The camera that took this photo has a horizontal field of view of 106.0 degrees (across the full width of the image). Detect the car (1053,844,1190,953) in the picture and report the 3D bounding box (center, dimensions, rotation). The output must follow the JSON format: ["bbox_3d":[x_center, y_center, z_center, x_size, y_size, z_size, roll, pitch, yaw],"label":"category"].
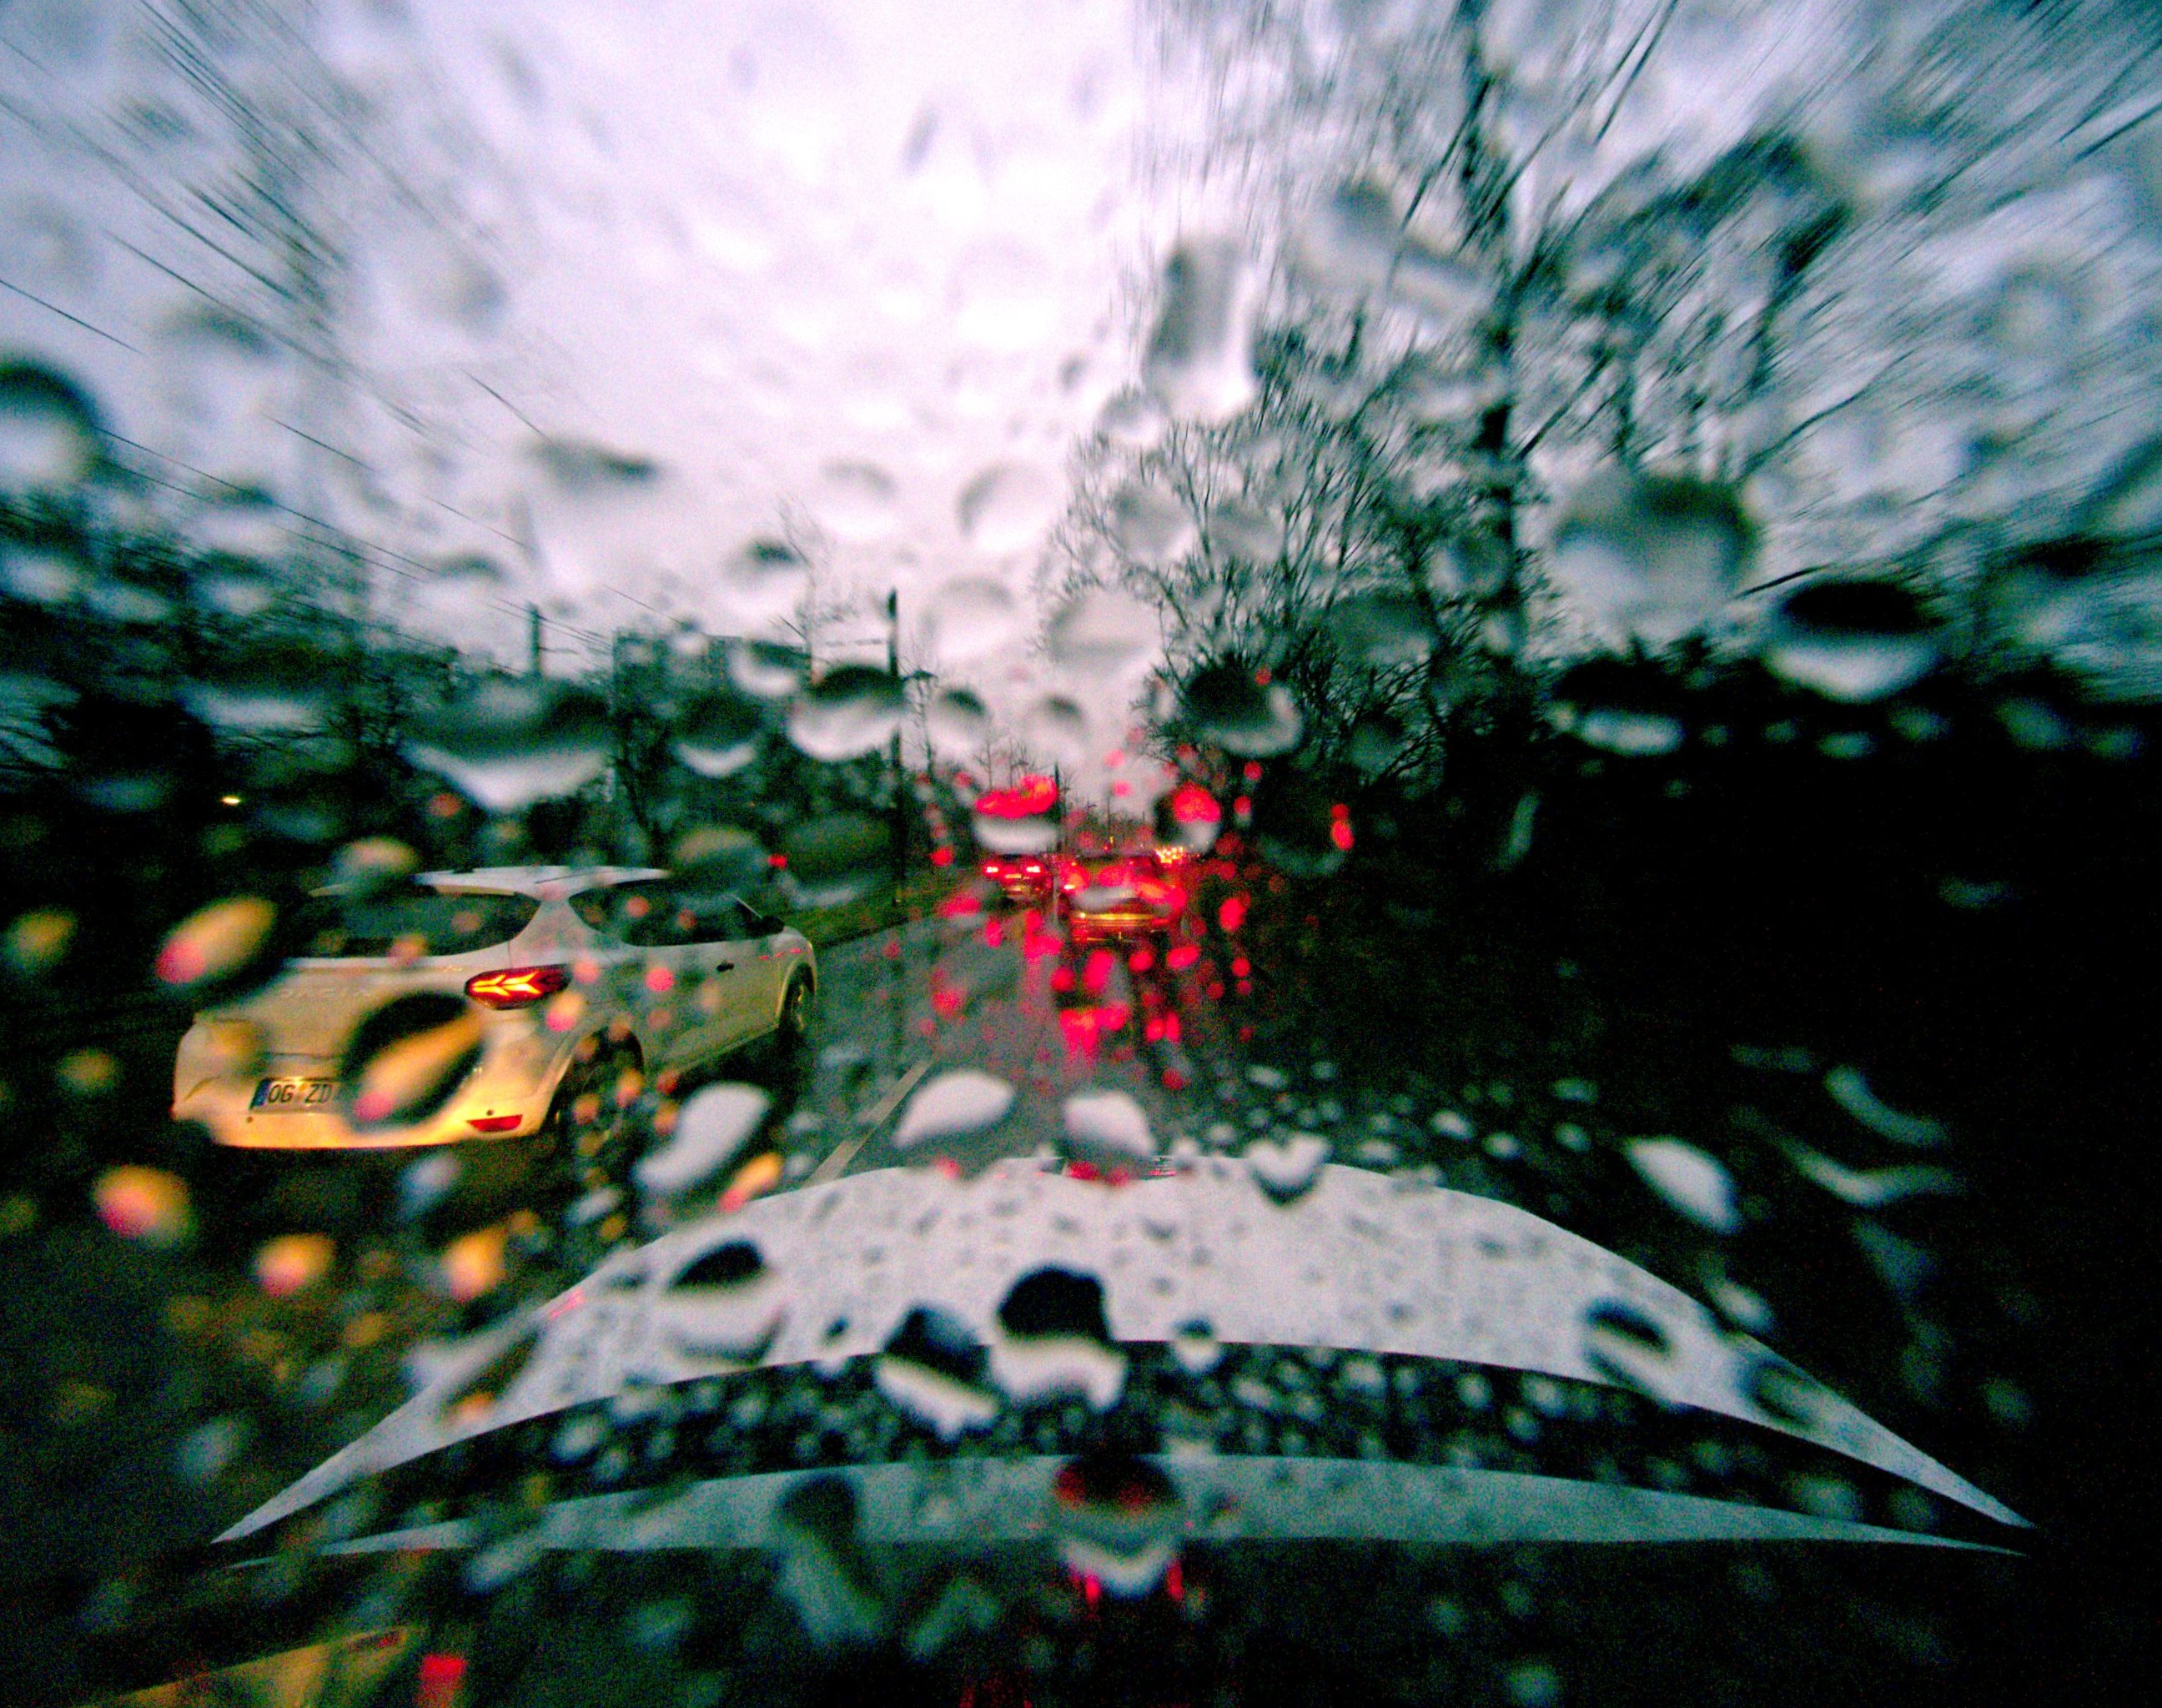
[{"bbox_3d":[0.596,0.636,14.013,1.992,1.584,3.999,-1,0,0],"label":"car"}]

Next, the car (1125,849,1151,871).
[{"bbox_3d":[4.276,0.424,60.971,1.699,1.558,4.004,-1,0,7],"label":"car"}]

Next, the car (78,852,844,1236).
[{"bbox_3d":[-3.123,0.768,5.357,1.702,1.525,4.138,-1,0,3],"label":"car"}]

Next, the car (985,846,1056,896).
[{"bbox_3d":[-1.918,0.500,26.994,1.873,1.459,4.002,-1,1,2],"label":"car"}]

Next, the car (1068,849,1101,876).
[{"bbox_3d":[0.242,0.535,52.449,1.872,1.593,4.003,-1,1,3],"label":"car"}]
